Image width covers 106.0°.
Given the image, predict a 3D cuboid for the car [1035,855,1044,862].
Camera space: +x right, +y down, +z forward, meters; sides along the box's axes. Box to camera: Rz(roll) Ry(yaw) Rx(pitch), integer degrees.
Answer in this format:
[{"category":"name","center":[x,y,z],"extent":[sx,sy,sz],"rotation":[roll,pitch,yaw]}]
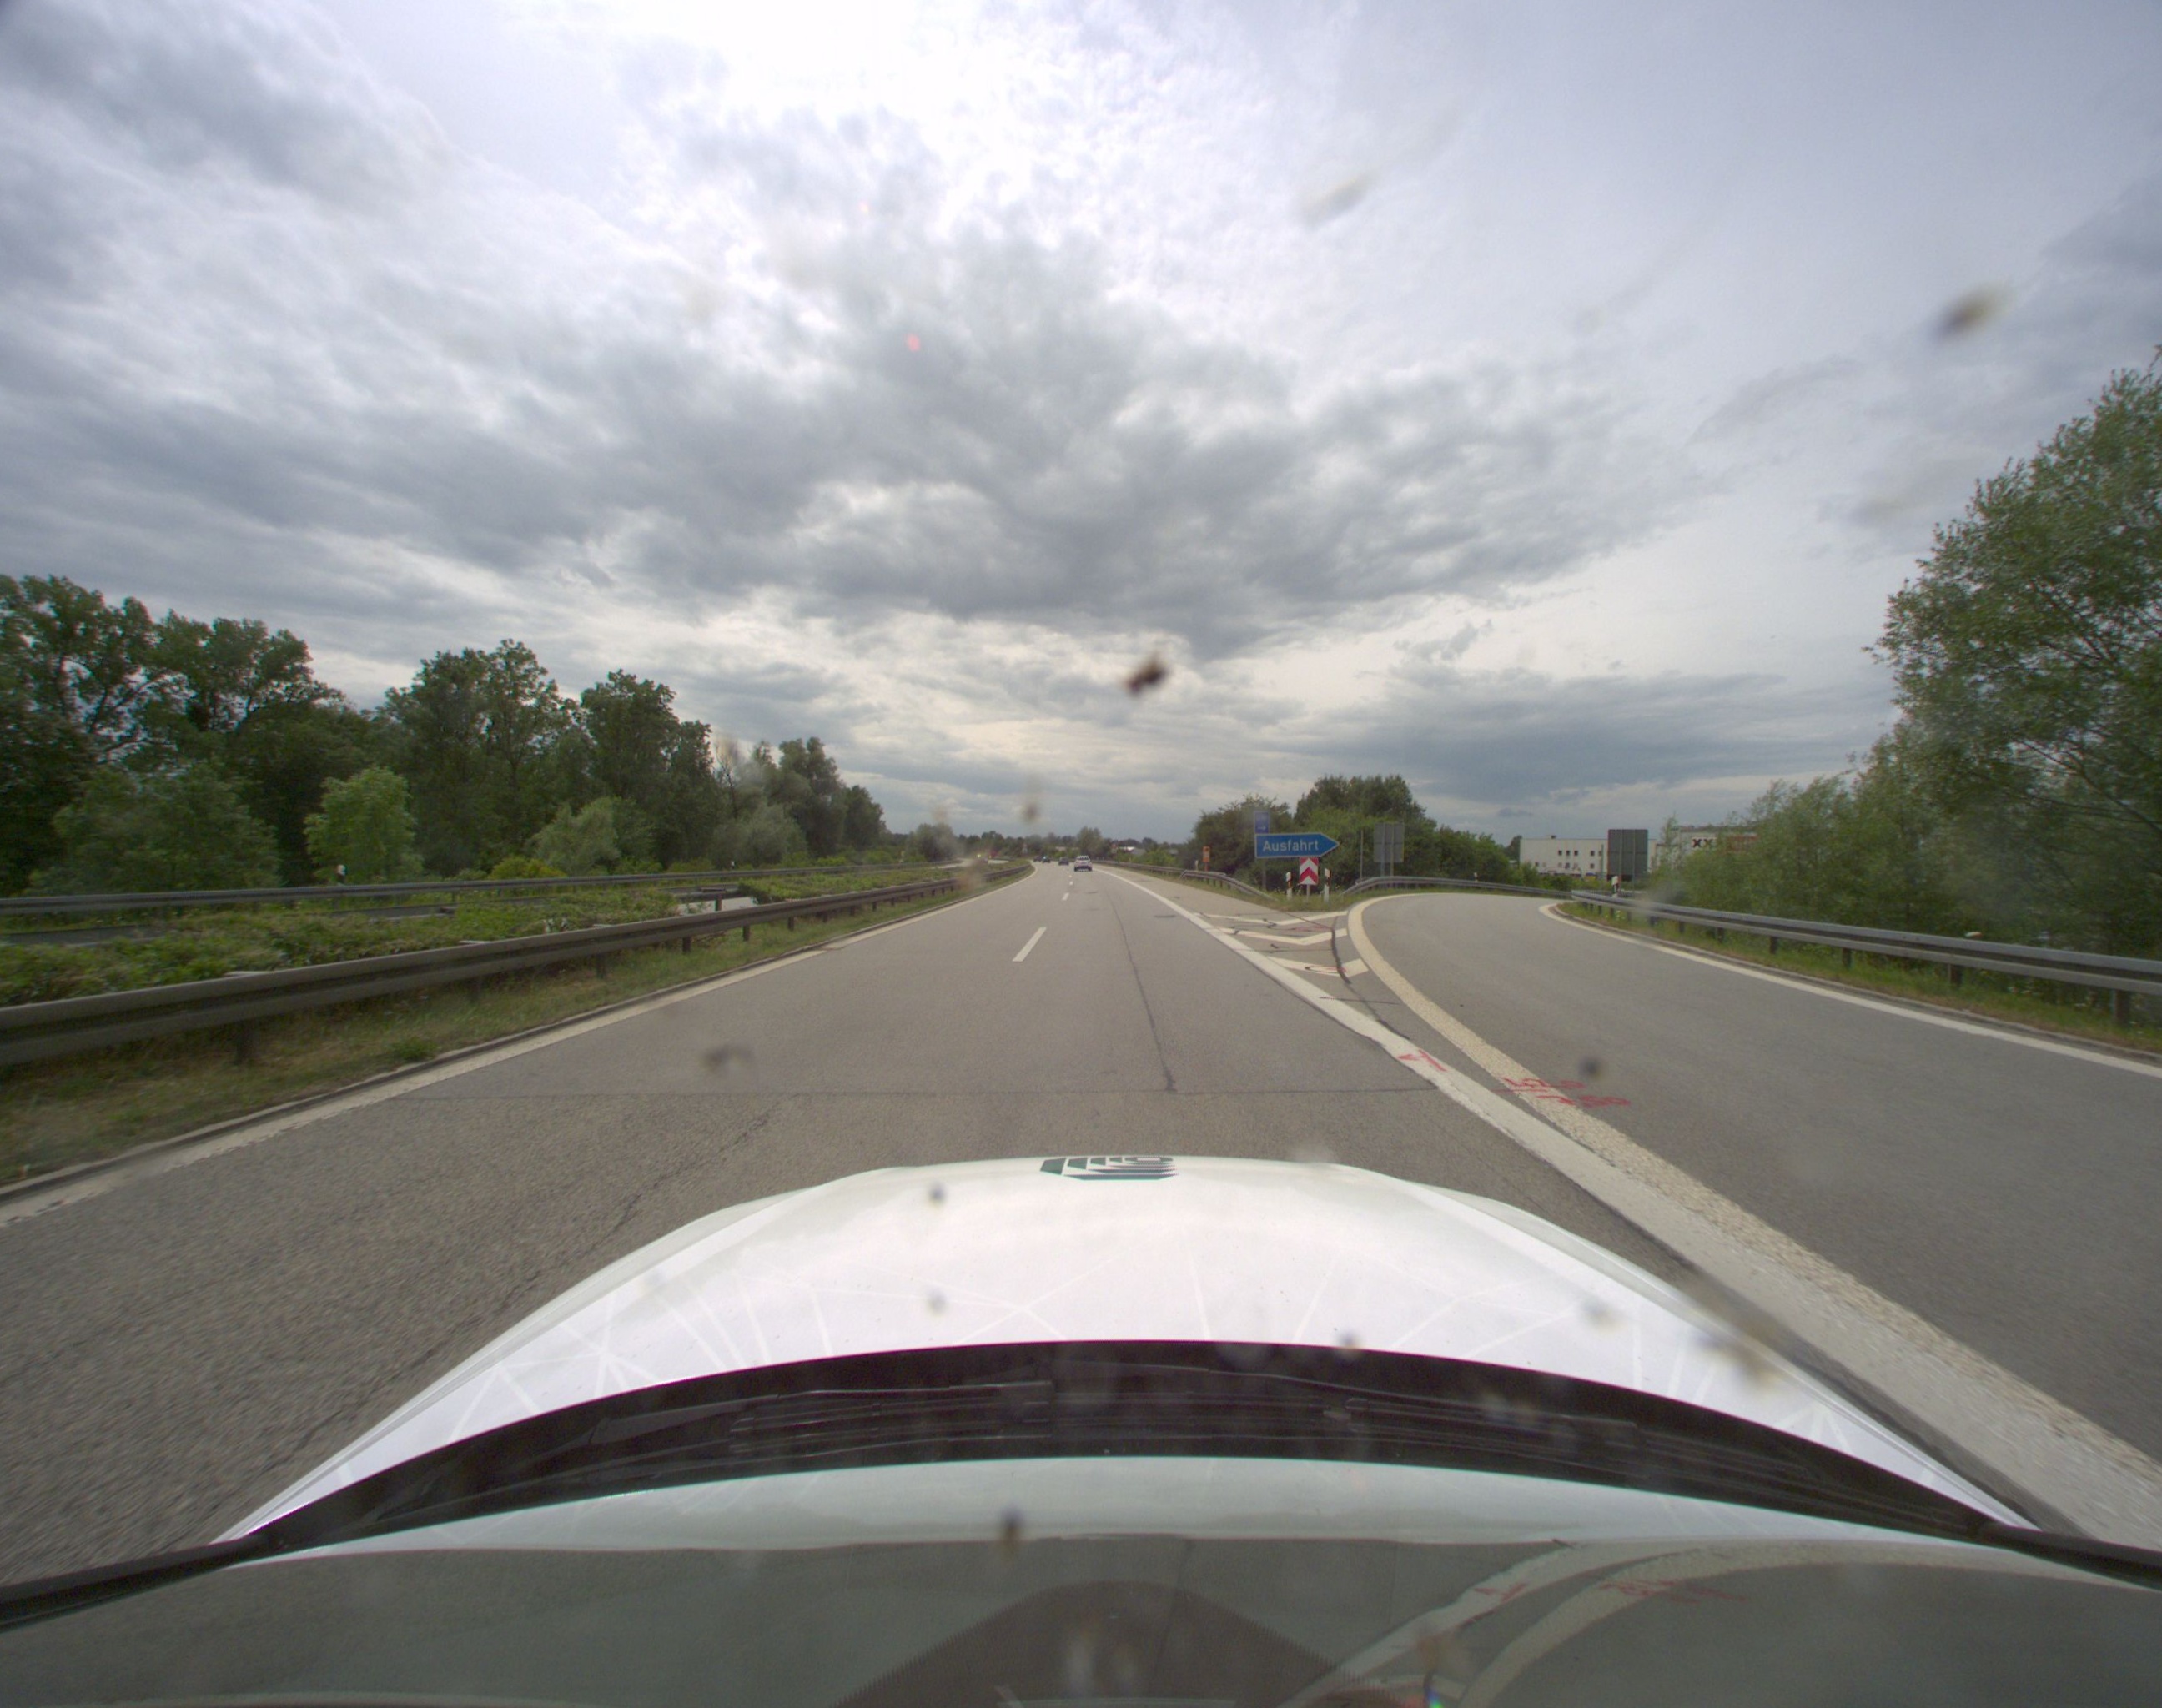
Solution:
[{"category":"car","center":[-11.231,1.290,219.402],"extent":[1.826,1.793,4.401],"rotation":[-3,1,-8]}]

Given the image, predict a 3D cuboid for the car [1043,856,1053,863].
[{"category":"car","center":[-7.754,1.241,190.945],"extent":[1.901,1.640,4.767],"rotation":[0,0,-7]}]

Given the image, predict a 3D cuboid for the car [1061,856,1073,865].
[{"category":"car","center":[-2.589,1.210,147.541],"extent":[1.890,1.640,4.613],"rotation":[0,0,-5]}]

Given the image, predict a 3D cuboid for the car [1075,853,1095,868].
[{"category":"car","center":[0.409,0.742,90.594],"extent":[1.899,1.640,4.389],"rotation":[0,0,-4]}]

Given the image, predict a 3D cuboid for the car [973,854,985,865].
[{"category":"car","center":[-18.472,0.937,147.414],"extent":[1.696,1.884,5.225],"rotation":[0,0,-1]}]
